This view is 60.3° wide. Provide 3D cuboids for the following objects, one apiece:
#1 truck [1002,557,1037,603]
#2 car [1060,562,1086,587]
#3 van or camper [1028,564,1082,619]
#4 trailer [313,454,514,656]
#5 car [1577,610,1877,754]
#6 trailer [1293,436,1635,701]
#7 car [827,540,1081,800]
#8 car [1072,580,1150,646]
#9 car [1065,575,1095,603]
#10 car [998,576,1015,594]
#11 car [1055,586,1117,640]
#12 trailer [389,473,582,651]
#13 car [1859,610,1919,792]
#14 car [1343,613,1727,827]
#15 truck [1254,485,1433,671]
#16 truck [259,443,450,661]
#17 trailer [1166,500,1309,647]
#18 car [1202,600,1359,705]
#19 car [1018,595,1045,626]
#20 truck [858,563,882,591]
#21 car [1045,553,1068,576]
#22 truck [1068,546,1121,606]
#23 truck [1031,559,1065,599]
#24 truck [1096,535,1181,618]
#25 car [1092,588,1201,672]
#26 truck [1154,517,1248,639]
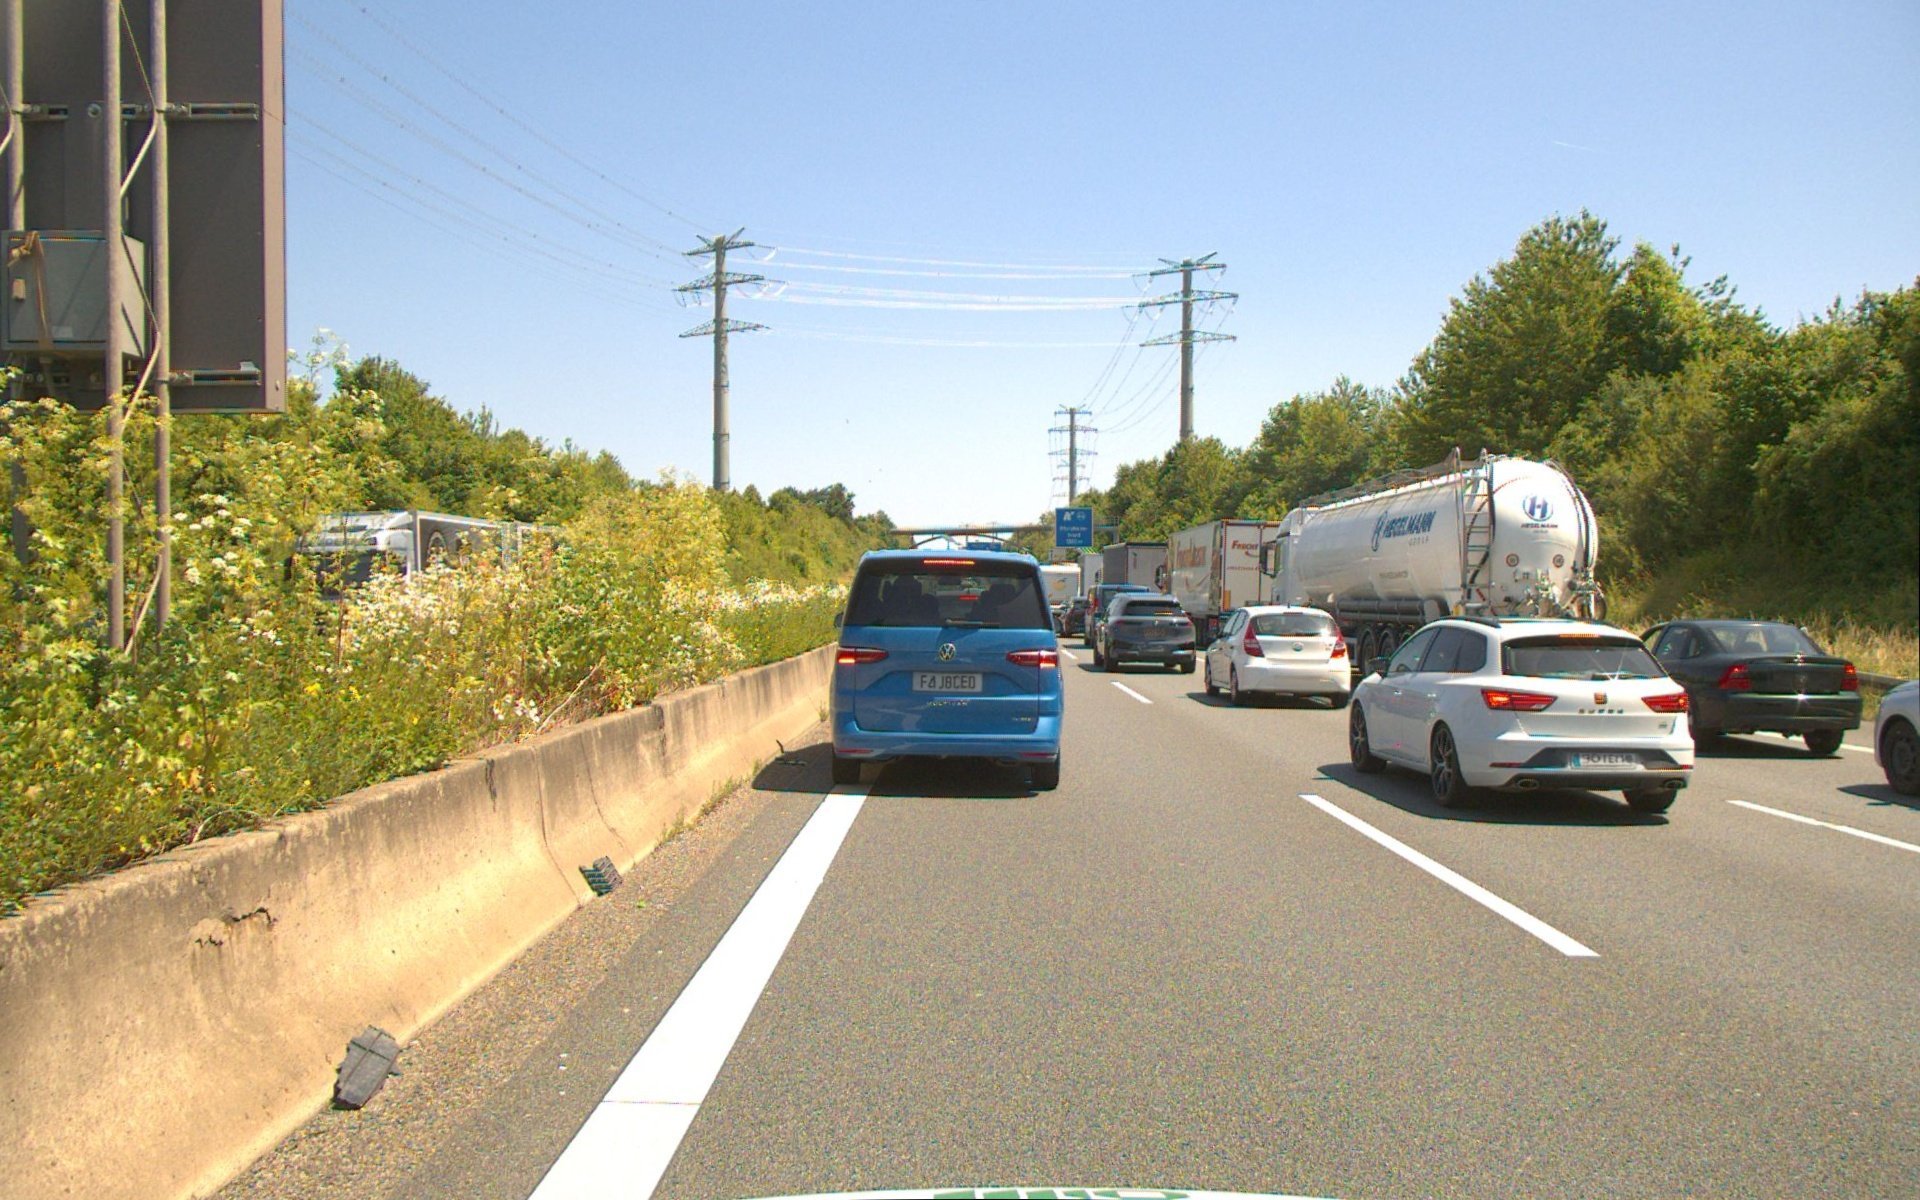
[{"bbox_3d":[5.128,-1.644,143.034,2.835,3.832,10.141,0,0,1],"label":"truck"},{"bbox_3d":[9.598,-2.128,140.336,1.952,2.049,4.000,0,-1,0],"label":"car"},{"bbox_3d":[5.381,-0.439,94.865,2.896,3.075,7.104,0,0,2],"label":"van or camper"},{"bbox_3d":[-14.822,-1.128,45.458,3.254,5.136,6.703,0,-1,0],"label":"trailer"},{"bbox_3d":[8.620,0.873,18.978,1.607,1.441,3.989,-1,-1,1],"label":"car"},{"bbox_3d":[8.650,-0.457,30.334,2.705,3.912,11.485,0,0,0],"label":"trailer"},{"bbox_3d":[-0.032,0.522,14.480,1.881,1.919,4.000,1,0,0],"label":"car"},{"bbox_3d":[4.720,0.436,52.196,1.885,1.959,4.233,-1,-1,-2],"label":"car"},{"bbox_3d":[8.949,-0.822,123.733,1.952,2.049,4.000,0,-1,0],"label":"car"},{"bbox_3d":[5.807,-1.878,206.216,1.953,2.163,3.999,0,-1,0],"label":"car"},{"bbox_3d":[4.777,0.522,63.192,1.885,1.959,4.233,-1,-1,-2],"label":"car"},{"bbox_3d":[-14.773,-1.070,52.504,3.254,5.136,9.591,0,-1,1],"label":"trailer"},{"bbox_3d":[8.664,0.831,12.362,1.695,1.468,4.028,0,0,0],"label":"car"},{"bbox_3d":[4.486,0.865,13.635,1.711,1.468,4.313,0,-1,1],"label":"car"},{"bbox_3d":[8.589,-0.466,37.681,2.736,3.904,5.571,0,0,0],"label":"truck"},{"bbox_3d":[-14.867,-1.128,40.928,3.235,5.139,4.032,0,0,0],"label":"truck"},{"bbox_3d":[9.378,-0.820,57.520,2.852,4.547,12.152,0,0,0],"label":"trailer"},{"bbox_3d":[4.952,0.790,26.060,1.779,1.511,4.000,0,-1,1],"label":"car"},{"bbox_3d":[4.887,0.747,113.323,1.798,2.033,4.000,-1,-1,2],"label":"car"},{"bbox_3d":[-13.105,-3.345,241.678,2.852,3.886,11.943,1,0,0],"label":"truck"},{"bbox_3d":[8.953,-3.277,153.764,1.952,2.049,4.000,0,-1,0],"label":"car"},{"bbox_3d":[9.192,-1.532,114.262,2.835,3.832,13.345,0,0,1],"label":"truck"},{"bbox_3d":[10.441,-2.422,197.678,3.493,4.596,10.292,0,0,0],"label":"truck"},{"bbox_3d":[8.916,-1.045,84.513,2.944,3.832,15.714,0,0,1],"label":"truck"},{"bbox_3d":[4.109,0.664,37.100,1.958,1.745,4.625,0,-1,1],"label":"car"},{"bbox_3d":[9.334,-0.812,64.541,2.853,4.547,5.142,0,0,0],"label":"truck"}]
